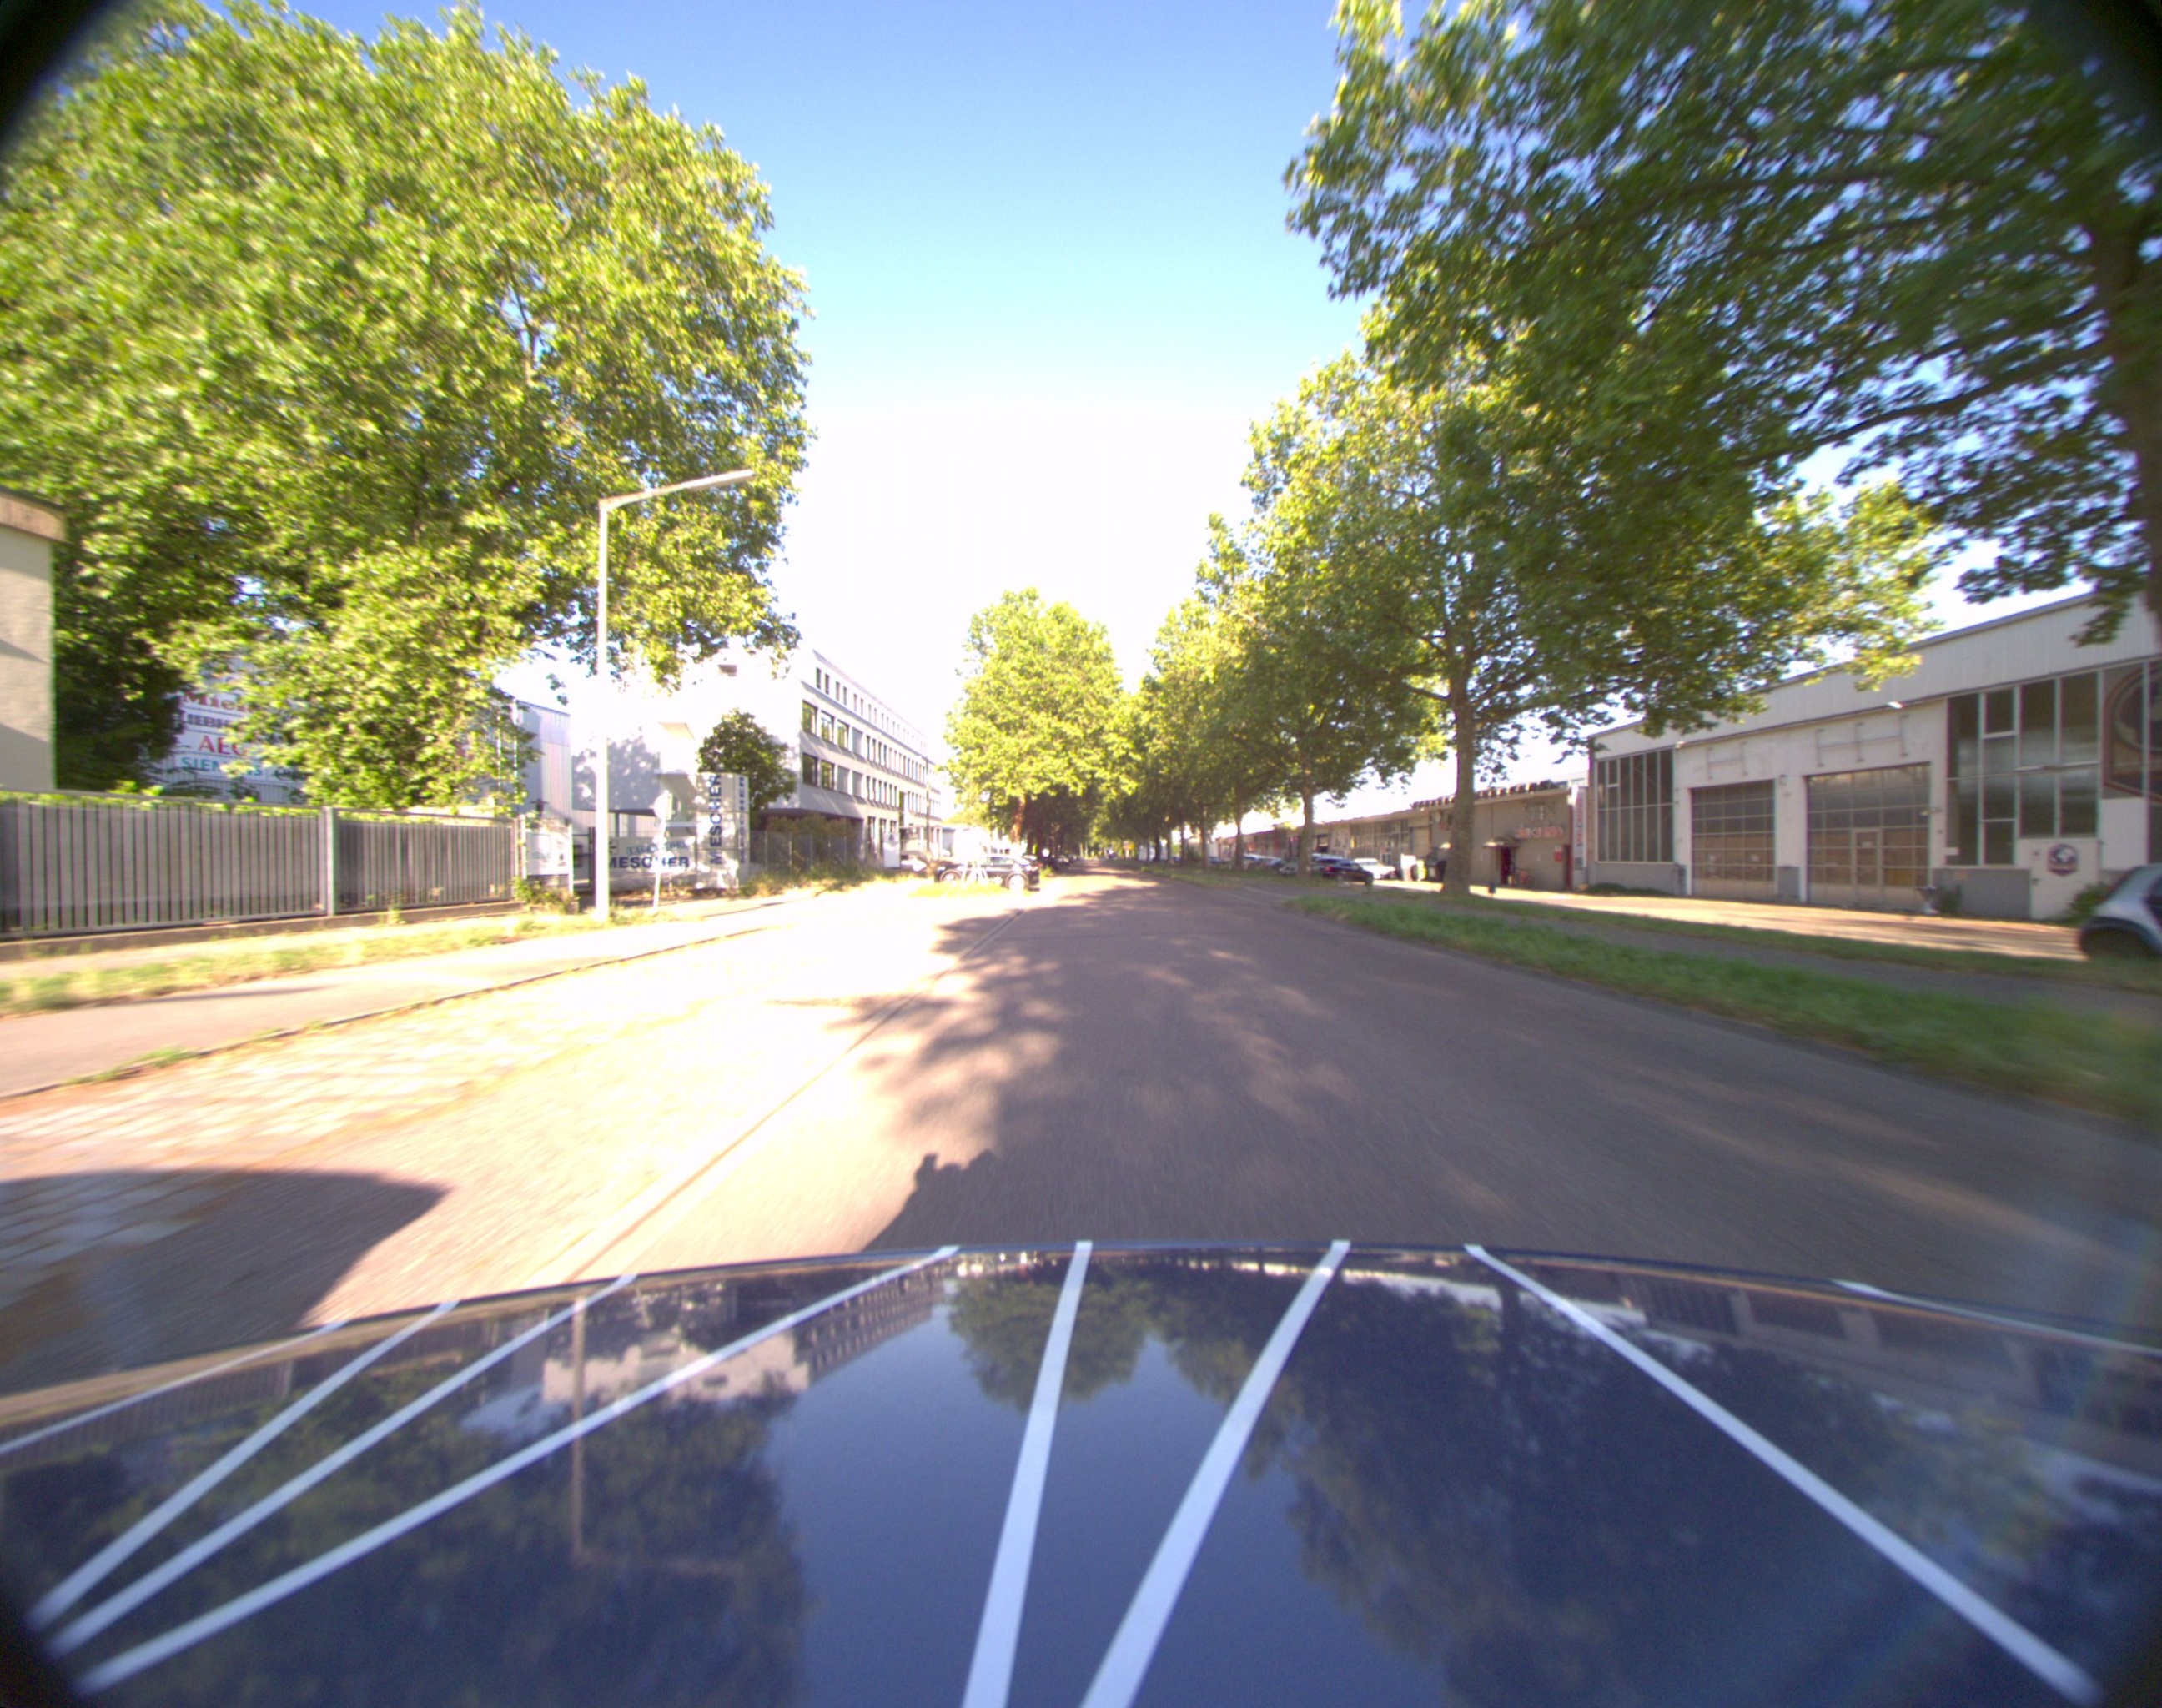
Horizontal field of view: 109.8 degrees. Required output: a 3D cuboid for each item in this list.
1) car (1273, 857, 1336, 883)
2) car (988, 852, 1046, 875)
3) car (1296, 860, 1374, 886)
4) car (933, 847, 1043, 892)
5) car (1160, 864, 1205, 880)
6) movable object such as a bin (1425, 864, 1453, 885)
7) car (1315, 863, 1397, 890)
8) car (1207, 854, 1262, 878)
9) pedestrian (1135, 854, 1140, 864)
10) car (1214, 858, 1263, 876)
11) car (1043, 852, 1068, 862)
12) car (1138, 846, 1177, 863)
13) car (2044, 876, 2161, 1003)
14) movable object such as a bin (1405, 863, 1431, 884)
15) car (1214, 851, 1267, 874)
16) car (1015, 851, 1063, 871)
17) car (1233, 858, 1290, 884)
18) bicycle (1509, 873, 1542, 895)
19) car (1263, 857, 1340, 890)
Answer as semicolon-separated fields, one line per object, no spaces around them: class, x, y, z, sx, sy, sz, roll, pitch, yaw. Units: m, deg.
car;15.502;1.093;52.548;4.270;1.620;1.995;-2;1;-37
car;-4.393;0.655;52.638;3.794;1.477;1.860;2;1;-1
car;13.823;0.994;41.201;4.494;1.298;1.994;0;0;-41
car;-3.971;0.652;33.152;4.582;1.705;1.942;3;1;-3
car;11.908;2.084;88.978;4.905;1.749;1.996;-1;1;-23
movable object such as a bin;24.591;1.392;52.223;1.059;1.423;1.627;-1;1;-2
car;14.057;1.107;38.701;4.494;1.298;1.994;0;0;-41
car;12.201;0.913;60.342;4.006;1.740;1.995;-2;1;-31
pedestrian;9.722;0.852;130.596;0.805;1.762;0.940;-1;1;2
car;14.054;1.103;67.706;4.270;1.443;1.995;-2;1;-37
car;-4.059;0.439;123.636;3.944;1.504;1.666;2;1;0
car;14.650;0.111;145.426;6.972;2.835;2.595;4;-2;-28
car;12.947;1.036;7.399;1.999;1.362;3.918;4;0;-4
movable object such as a bin;23.817;1.382;53.689;1.059;1.423;1.573;-1;1;-2
car;12.317;0.638;58.534;1.994;1.689;4.271;0;1;44
car;-3.906;0.639;70.568;4.295;1.477;1.860;4;1;-1
car;12.859;1.183;53.999;1.994;1.620;4.271;0;1;43
bicycle;24.756;1.665;42.360;0.537;1.052;2.159;-6;0;2
car;12.895;1.113;44.341;4.492;1.720;1.995;-2;1;-37
